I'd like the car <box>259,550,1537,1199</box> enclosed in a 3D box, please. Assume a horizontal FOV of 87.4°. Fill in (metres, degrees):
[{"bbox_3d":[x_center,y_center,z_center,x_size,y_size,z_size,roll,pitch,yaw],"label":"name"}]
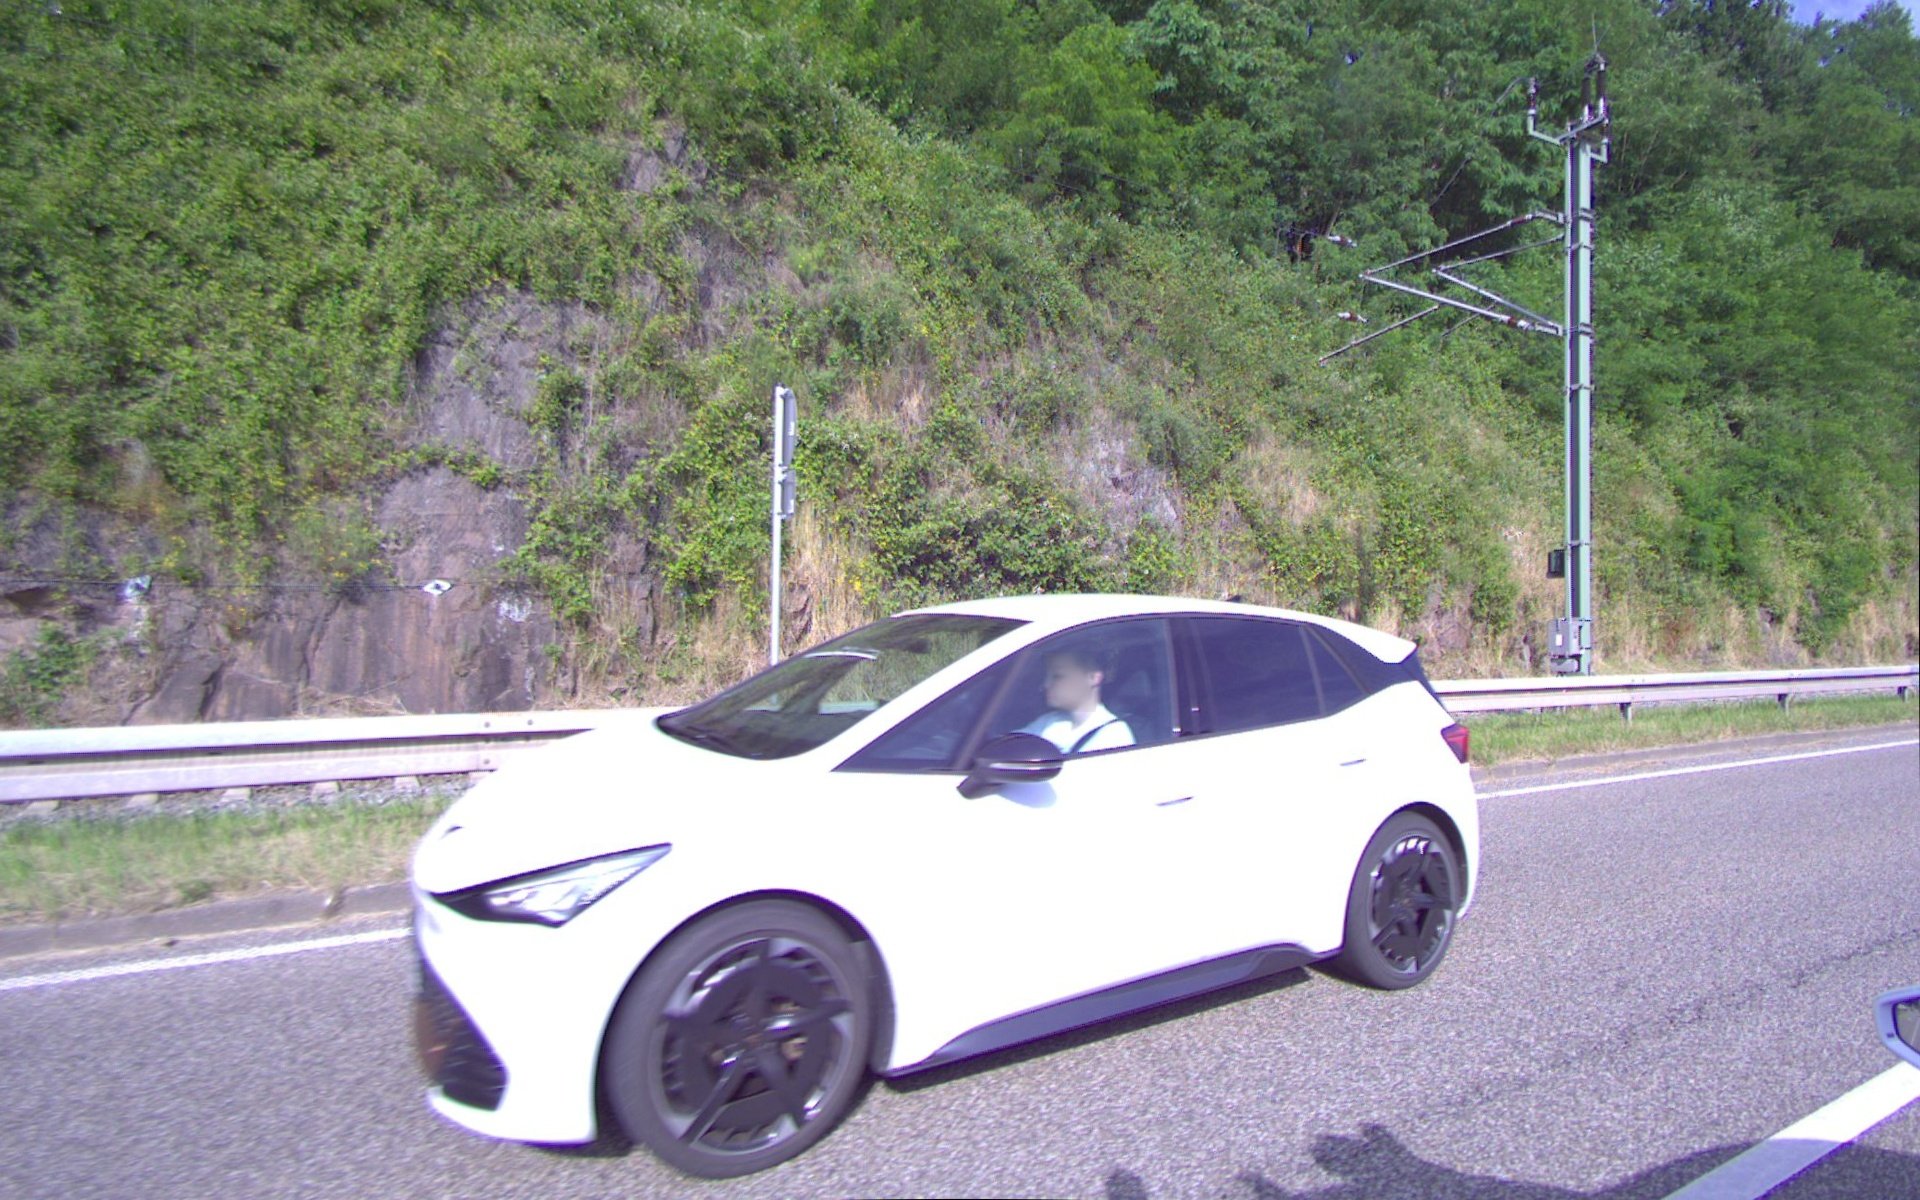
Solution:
[{"bbox_3d":[0.091,0.718,3.981,4.551,1.565,1.838,1,0,-31],"label":"car"}]
